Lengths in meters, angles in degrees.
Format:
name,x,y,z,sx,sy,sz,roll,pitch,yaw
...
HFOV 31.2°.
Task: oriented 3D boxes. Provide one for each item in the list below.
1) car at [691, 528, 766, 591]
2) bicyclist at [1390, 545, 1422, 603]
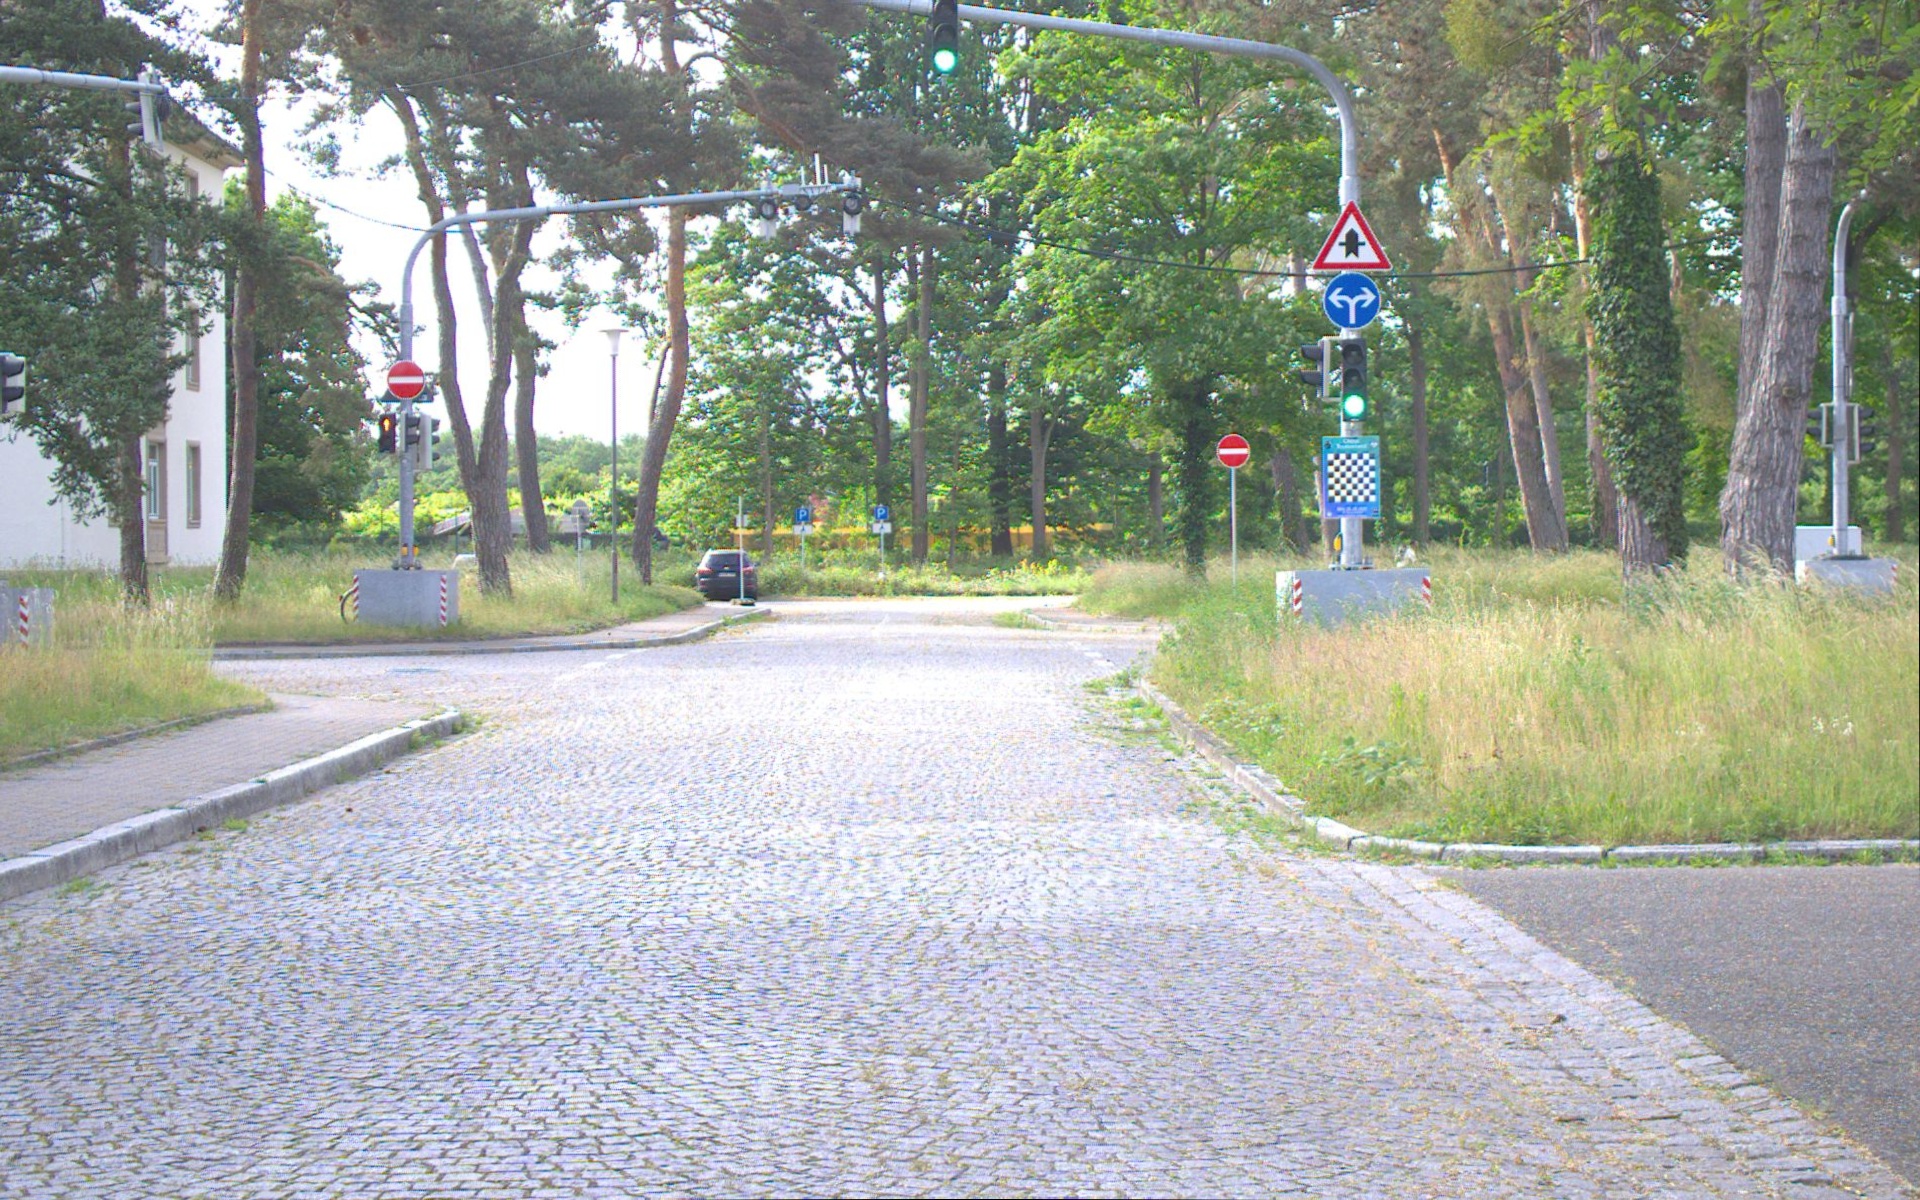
name,x,y,z,sx,sy,sz,roll,pitch,yaw
car,-6.951,-1.241,103.611,2.056,1.840,4.000,0,1,-1
bicyclist,13.152,-0.767,101.357,0.748,1.665,0.526,1,0,-16
